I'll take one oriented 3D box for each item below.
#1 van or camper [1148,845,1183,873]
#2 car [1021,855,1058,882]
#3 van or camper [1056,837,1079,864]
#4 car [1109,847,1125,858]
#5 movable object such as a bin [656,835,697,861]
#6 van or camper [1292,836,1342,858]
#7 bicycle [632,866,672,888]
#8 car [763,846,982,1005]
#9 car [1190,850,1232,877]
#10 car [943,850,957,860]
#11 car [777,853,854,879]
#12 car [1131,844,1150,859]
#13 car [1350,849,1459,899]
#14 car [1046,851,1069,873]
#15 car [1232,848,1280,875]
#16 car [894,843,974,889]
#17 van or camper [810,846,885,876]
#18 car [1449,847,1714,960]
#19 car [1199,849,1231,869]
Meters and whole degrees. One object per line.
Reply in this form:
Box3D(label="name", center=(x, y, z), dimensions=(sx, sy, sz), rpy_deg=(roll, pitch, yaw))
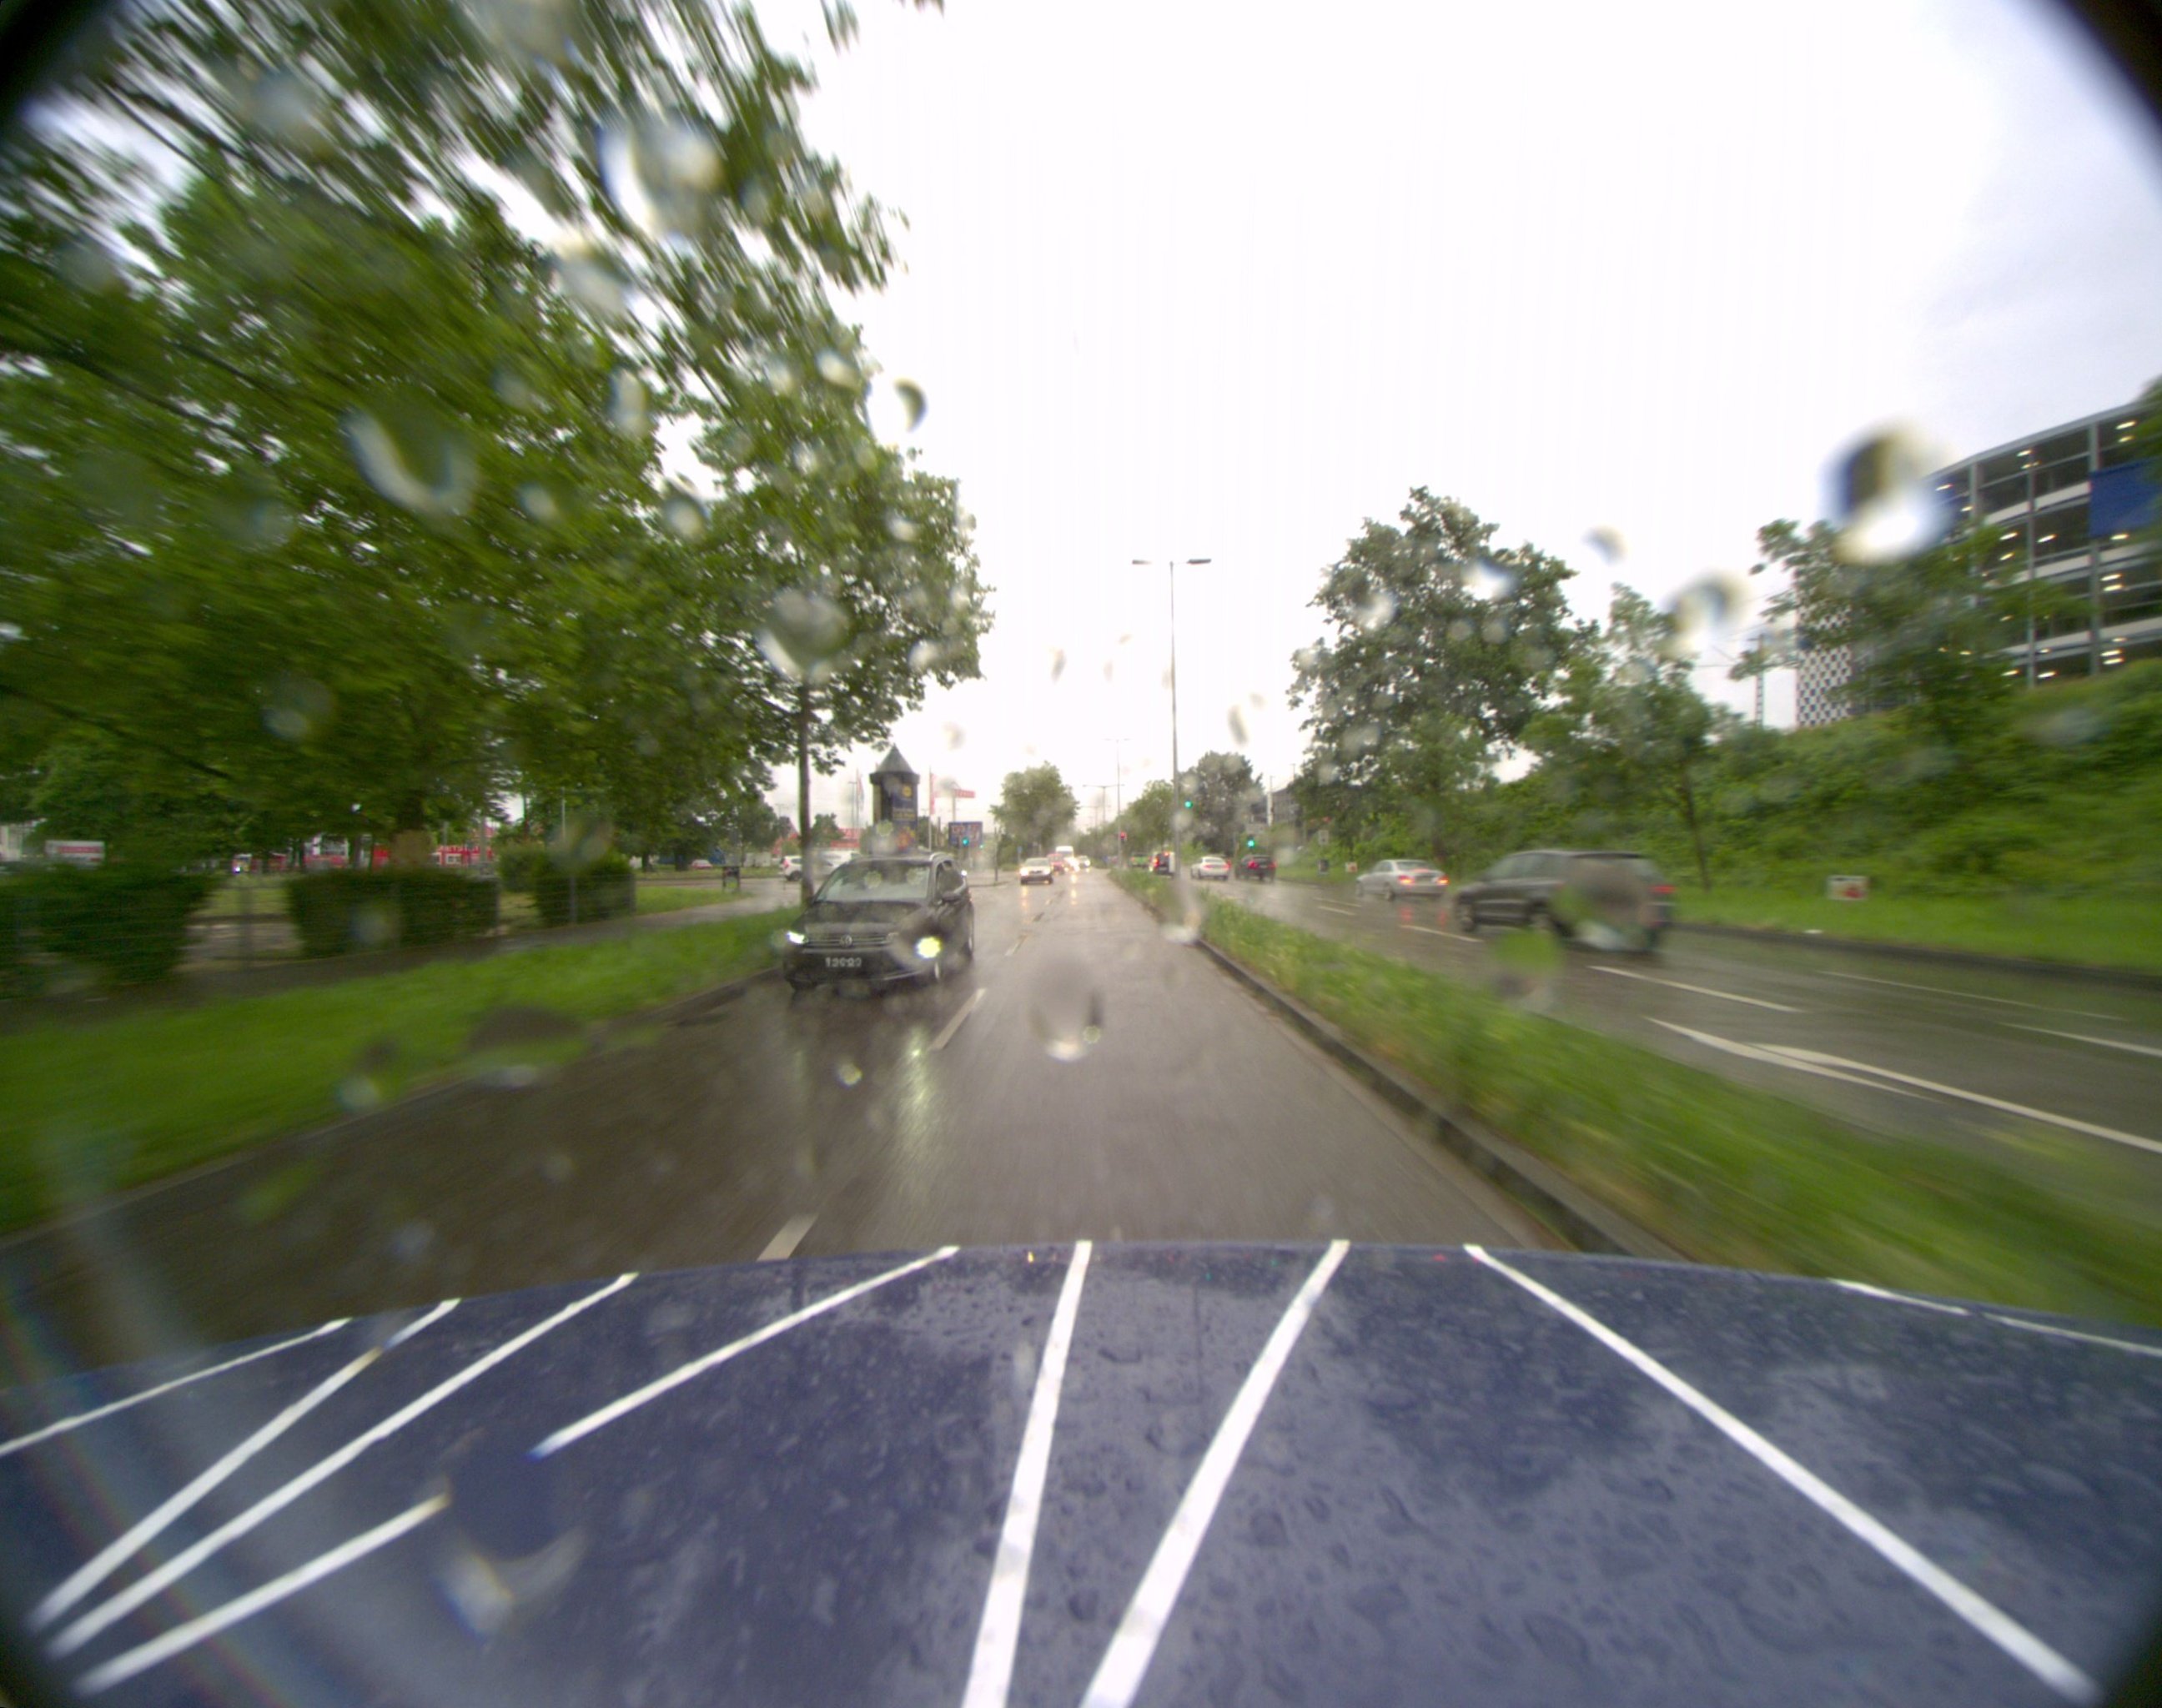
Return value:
Box3D(label="van or camper", center=(5.486, 0.281, 49.888), dimensions=(1.733, 1.732, 3.999), rpy_deg=(1, 1, -1))
Box3D(label="car", center=(-2.328, 0.779, 43.507), dimensions=(1.807, 1.422, 4.386), rpy_deg=(-1, 1, 1))
Box3D(label="van or camper", center=(-1.394, -0.369, 79.291), dimensions=(2.100, 2.580, 4.775), rpy_deg=(-2, 0, 1))
Box3D(label="car", center=(5.605, -0.271, 118.787), dimensions=(1.977, 1.592, 4.385), rpy_deg=(0, 1, -6))
Box3D(label="movable object such as a bin", center=(-52.909, -0.802, 99.313), dimensions=(4.260, 3.266, 2.321), rpy_deg=(-3, 3, -37))
Box3D(label="van or camper", center=(29.291, -0.944, 94.203), dimensions=(6.941, 2.647, 1.994), rpy_deg=(-1, 1, -35))
Box3D(label="bicycle", center=(-20.683, 1.088, 36.599), dimensions=(1.621, 1.032, 0.814), rpy_deg=(0, 1, 21))
Box3D(label="car", center=(-2.593, 0.778, 10.564), dimensions=(1.861, 1.716, 4.189), rpy_deg=(-2, 1, -1))
Box3D(label="car", center=(8.421, 0.563, 49.734), dimensions=(1.903, 1.604, 4.711), rpy_deg=(1, 1, 0))
Box3D(label="car", center=(-21.941, 0.136, 127.709), dimensions=(1.822, 1.610, 3.998), rpy_deg=(0, 1, -2))
Box3D(label="car", center=(-17.854, 0.763, 51.174), dimensions=(4.470, 1.663, 1.863), rpy_deg=(-1, 1, -38))
Box3D(label="car", center=(6.339, -0.298, 81.213), dimensions=(1.780, 1.552, 3.773), rpy_deg=(-2, 1, 1))
Box3D(label="car", center=(11.283, 0.620, 26.898), dimensions=(1.903, 1.604, 4.477), rpy_deg=(0, 1, -1))
Box3D(label="car", center=(-1.910, 0.647, 62.923), dimensions=(1.699, 1.759, 4.558), rpy_deg=(-1, 0, 1))
Box3D(label="car", center=(11.434, 0.453, 49.892), dimensions=(2.042, 1.651, 4.677), rpy_deg=(0, 1, -1))
Box3D(label="car", center=(-7.150, 0.527, 36.617), dimensions=(1.936, 2.044, 4.742), rpy_deg=(-1, 1, -36))
Box3D(label="van or camper", center=(-17.146, 0.456, 55.816), dimensions=(4.918, 2.076, 1.863), rpy_deg=(-1, 1, -38))
Box3D(label="car", center=(8.303, 0.703, 13.154), dimensions=(1.903, 1.604, 4.111), rpy_deg=(1, 1, 2))
Box3D(label="car", center=(11.158, 0.427, 63.590), dimensions=(1.903, 1.604, 4.404), rpy_deg=(0, 1, -1))
